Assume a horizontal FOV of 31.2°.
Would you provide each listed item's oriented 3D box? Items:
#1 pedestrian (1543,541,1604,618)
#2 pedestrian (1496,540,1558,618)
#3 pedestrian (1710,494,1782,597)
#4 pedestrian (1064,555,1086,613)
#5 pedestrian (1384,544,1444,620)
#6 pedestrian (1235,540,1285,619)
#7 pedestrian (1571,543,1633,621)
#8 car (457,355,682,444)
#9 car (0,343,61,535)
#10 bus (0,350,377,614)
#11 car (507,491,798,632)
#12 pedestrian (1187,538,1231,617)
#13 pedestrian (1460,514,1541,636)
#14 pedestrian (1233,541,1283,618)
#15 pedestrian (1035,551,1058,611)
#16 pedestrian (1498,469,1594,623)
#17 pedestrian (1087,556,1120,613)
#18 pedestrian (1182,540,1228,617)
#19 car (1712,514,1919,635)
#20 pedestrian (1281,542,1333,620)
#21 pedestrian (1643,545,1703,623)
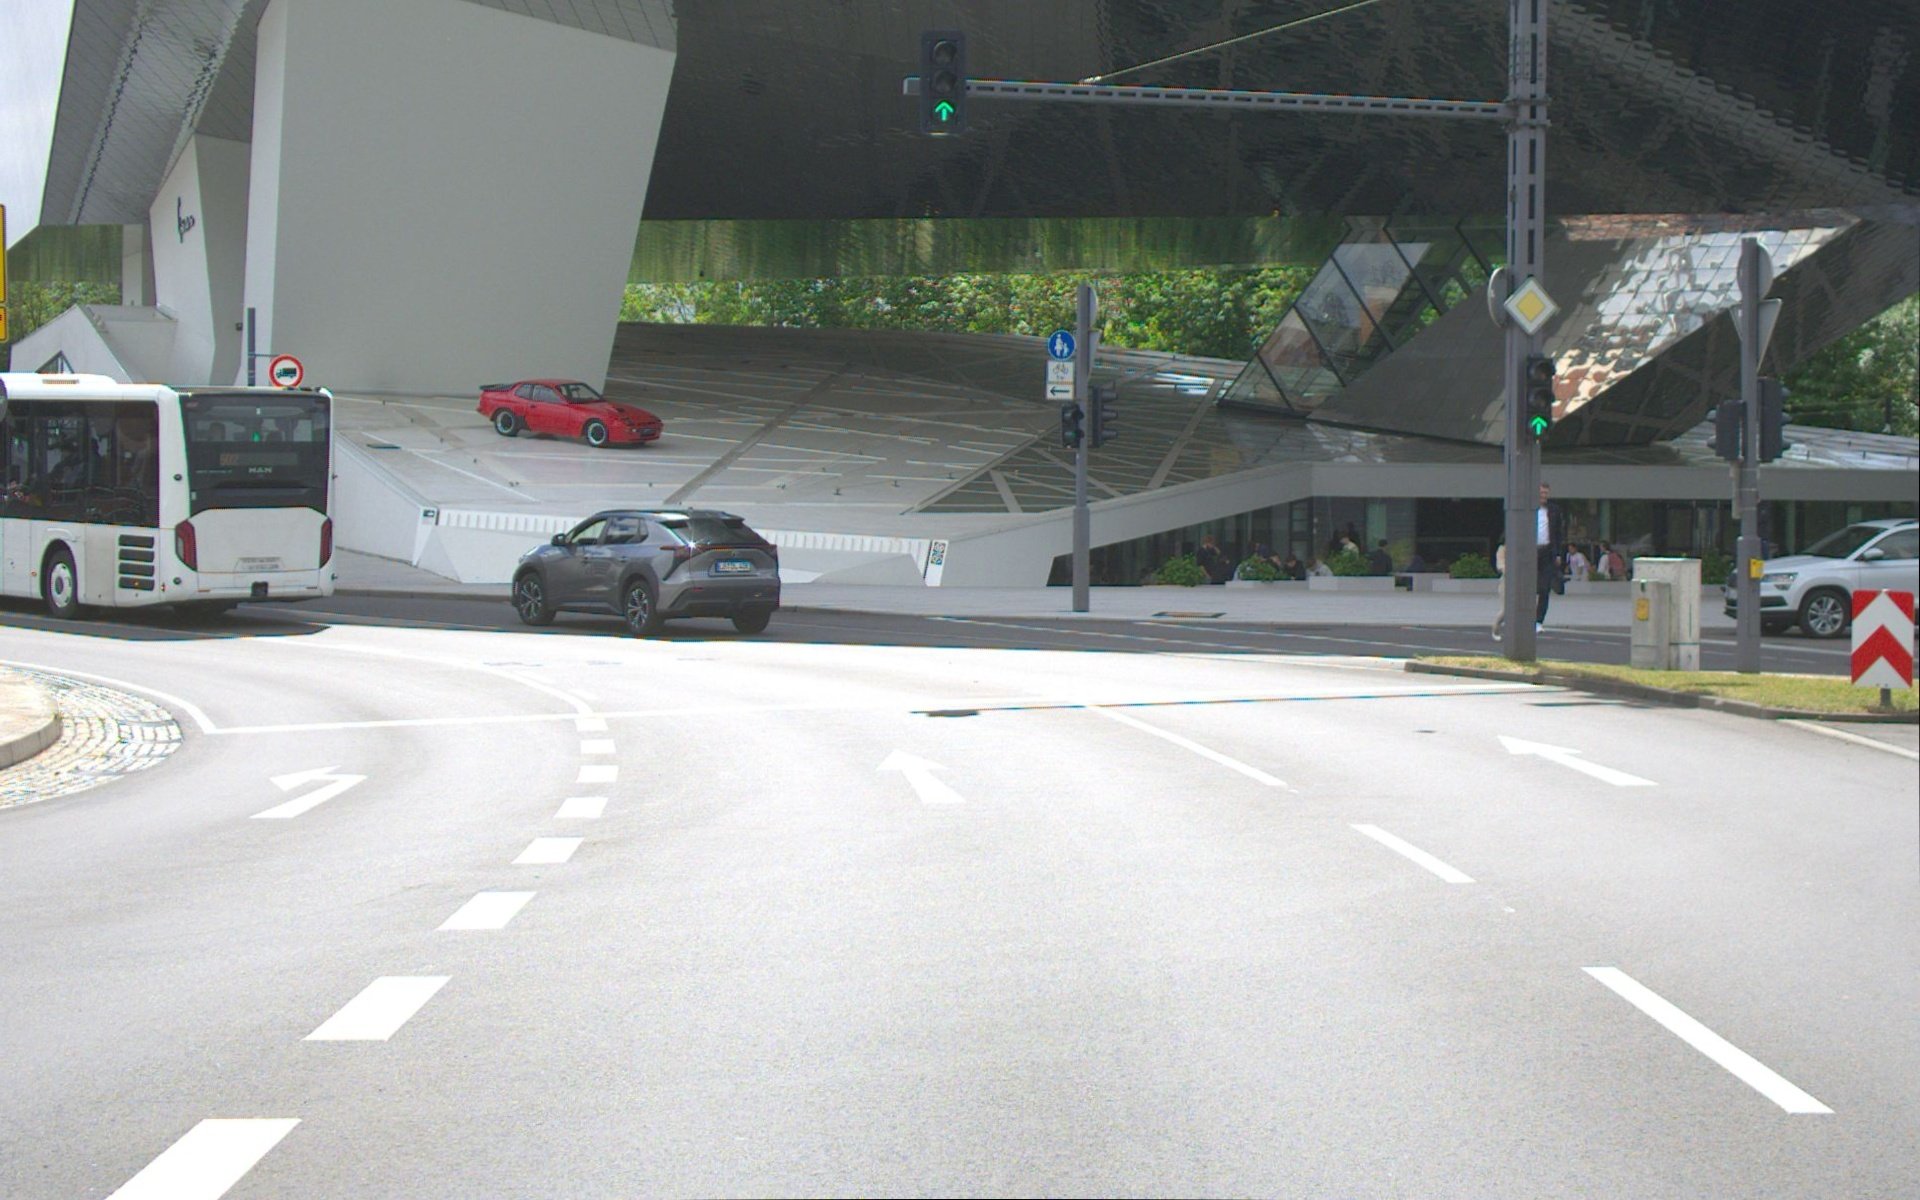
[{"bbox_3d":[12.718,-0.417,71.266,0.827,1.567,0.923,1,0,-26],"label":"pedestrian"},{"bbox_3d":[11.616,-0.422,70.422,0.827,1.567,0.923,1,0,-26],"label":"pedestrian"},{"bbox_3d":[14.212,-0.978,62.149,0.827,1.820,0.923,1,0,-26],"label":"pedestrian"},{"bbox_3d":[2.511,-0.350,75.076,0.394,1.249,0.562,1,0,-6],"label":"pedestrian"},{"bbox_3d":[9.445,-0.377,71.465,0.827,1.567,0.923,1,0,-26],"label":"pedestrian"},{"bbox_3d":[6.100,-0.416,69.933,0.921,1.567,0.830,1,0,10],"label":"pedestrian"},{"bbox_3d":[13.143,-0.363,70.403,0.827,1.567,0.923,1,0,-26],"label":"pedestrian"},{"bbox_3d":[-8.527,-4.401,75.012,4.506,1.390,1.997,9,9,29],"label":"car"},{"bbox_3d":[-20.500,-3.061,67.039,3.335,3.492,9.342,1,0,-30],"label":"car"},{"bbox_3d":[-13.020,-1.616,49.759,3.073,3.351,12.218,1,0,-41],"label":"bus"},{"bbox_3d":[-4.097,-0.550,45.388,1.994,1.630,4.000,-4,5,-37],"label":"car"},{"bbox_3d":[5.067,-0.451,69.938,0.828,1.567,0.923,1,0,6],"label":"pedestrian"},{"bbox_3d":[6.699,-0.306,42.626,0.771,1.491,0.582,1,0,41],"label":"pedestrian"},{"bbox_3d":[6.141,-0.416,70.907,0.921,1.567,0.830,1,0,10],"label":"pedestrian"},{"bbox_3d":[1.799,-0.395,71.487,0.394,1.249,0.400,1,0,-6],"label":"pedestrian"},{"bbox_3d":[7.736,-0.729,45.410,0.953,1.978,1.381,1,2,-1],"label":"pedestrian"},{"bbox_3d":[3.171,-0.335,76.023,0.561,1.249,0.473,1,0,23],"label":"pedestrian"},{"bbox_3d":[5.065,-0.442,71.065,0.828,1.567,0.923,1,0,11],"label":"pedestrian"},{"bbox_3d":[12.258,-0.352,45.704,3.986,1.544,1.839,-1,0,-11],"label":"car"},{"bbox_3d":[7.126,-0.392,70.665,0.795,1.567,0.692,1,0,35],"label":"pedestrian"},{"bbox_3d":[14.697,-0.326,70.890,0.827,1.567,0.924,1,0,-19],"label":"pedestrian"}]
